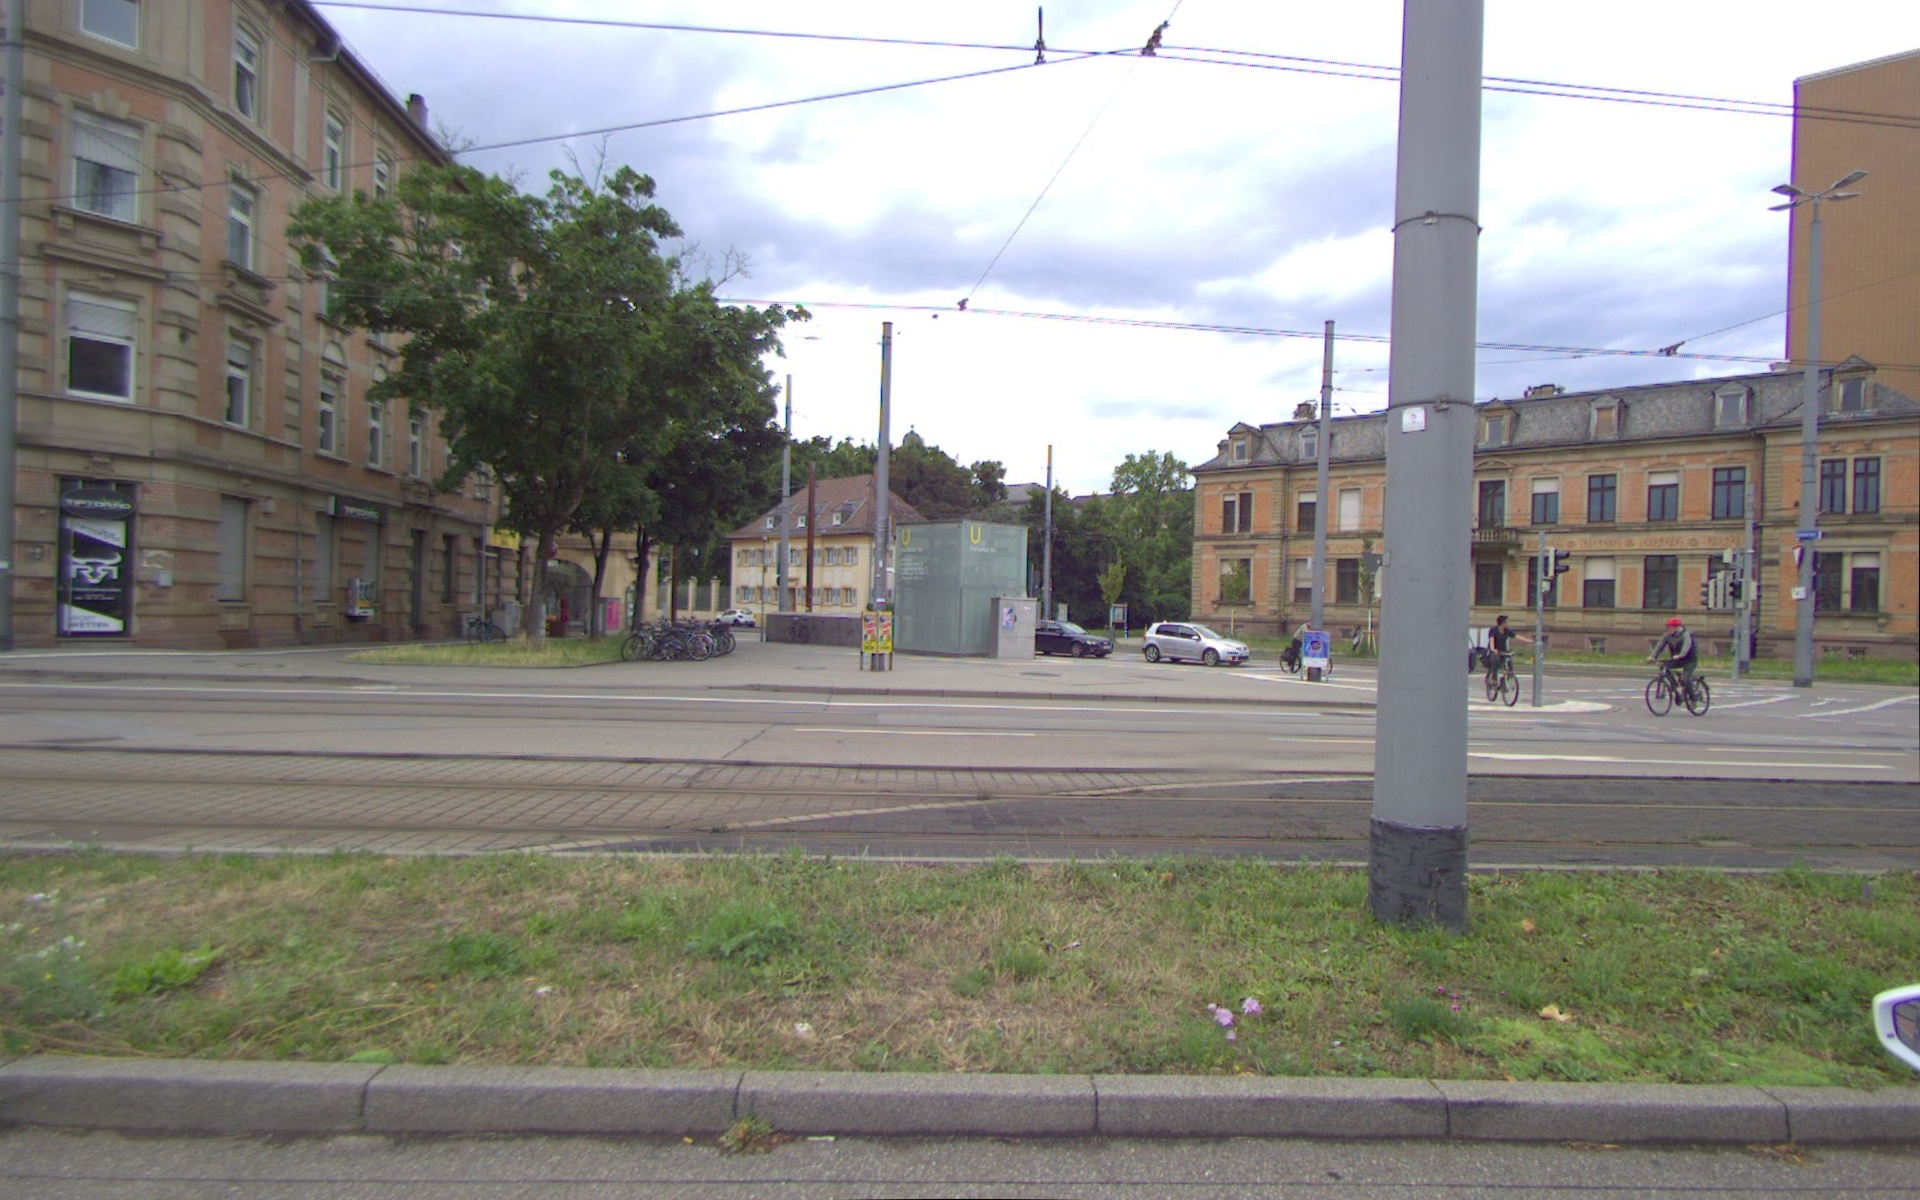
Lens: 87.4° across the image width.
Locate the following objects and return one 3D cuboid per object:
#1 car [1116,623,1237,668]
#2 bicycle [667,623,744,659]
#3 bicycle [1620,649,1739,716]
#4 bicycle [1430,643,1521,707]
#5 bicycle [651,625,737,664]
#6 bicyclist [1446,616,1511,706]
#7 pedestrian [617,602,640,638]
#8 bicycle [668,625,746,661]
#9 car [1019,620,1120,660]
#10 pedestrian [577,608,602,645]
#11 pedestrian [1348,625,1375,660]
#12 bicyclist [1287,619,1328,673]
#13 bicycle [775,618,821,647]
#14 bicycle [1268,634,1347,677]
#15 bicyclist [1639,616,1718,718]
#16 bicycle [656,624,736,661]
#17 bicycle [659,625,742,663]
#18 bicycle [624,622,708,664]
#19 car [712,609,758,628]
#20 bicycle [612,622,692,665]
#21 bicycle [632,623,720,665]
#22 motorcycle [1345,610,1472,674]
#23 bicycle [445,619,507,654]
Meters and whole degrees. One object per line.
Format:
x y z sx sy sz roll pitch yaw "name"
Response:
7.885 1.624 36.827 1.748 1.473 4.112 1 -1 -40 "car"
-7.929 1.268 31.334 2.176 1.052 0.689 1 0 5 "bicycle"
13.867 1.576 19.357 2.202 1.224 0.822 2 -1 -22 "bicycle"
10.680 1.525 20.902 0.800 1.259 2.000 0 -2 -2 "bicycle"
-7.198 1.200 27.201 2.176 1.000 0.500 1 0 5 "bicycle"
10.698 1.235 20.764 0.800 1.822 1.029 0 0 -2 "bicyclist"
-16.362 0.980 49.600 0.830 1.745 0.952 1 0 -1 "pedestrian"
-7.580 1.281 30.100 2.176 1.000 0.585 1 0 5 "bicycle"
4.435 1.601 41.181 1.683 1.468 4.096 1 0 -39 "car"
-17.713 1.275 48.047 0.830 1.745 0.952 1 0 -1 "pedestrian"
20.979 2.213 52.485 1.108 1.786 0.756 1 0 34 "pedestrian"
10.908 1.427 31.544 0.849 1.644 0.906 3 -1 -44 "bicyclist"
-6.621 1.314 40.975 0.734 1.130 2.334 1 0 -41 "bicycle"
10.894 1.726 31.541 0.851 1.224 2.169 3 -2 -43 "bicycle"
13.821 1.274 19.335 1.034 1.917 0.827 1 -2 -22 "bicyclist"
-7.632 1.237 29.104 2.176 1.000 0.500 1 0 5 "bicycle"
-7.345 1.249 28.466 2.176 1.000 0.611 1 0 5 "bicycle"
-7.564 1.106 25.885 1.997 1.000 0.522 1 0 5 "bicycle"
-18.599 1.544 82.976 4.128 1.468 1.687 1 0 43 "car"
-7.702 1.081 25.136 1.831 1.000 0.500 1 0 4 "bicycle"
-7.472 1.153 26.445 2.176 1.019 0.480 1 0 5 "bicycle"
15.462 1.406 34.718 3.638 2.040 1.685 1 0 45 "motorcycle"
-14.086 1.044 29.216 1.955 0.927 0.661 1 0 31 "bicycle"
